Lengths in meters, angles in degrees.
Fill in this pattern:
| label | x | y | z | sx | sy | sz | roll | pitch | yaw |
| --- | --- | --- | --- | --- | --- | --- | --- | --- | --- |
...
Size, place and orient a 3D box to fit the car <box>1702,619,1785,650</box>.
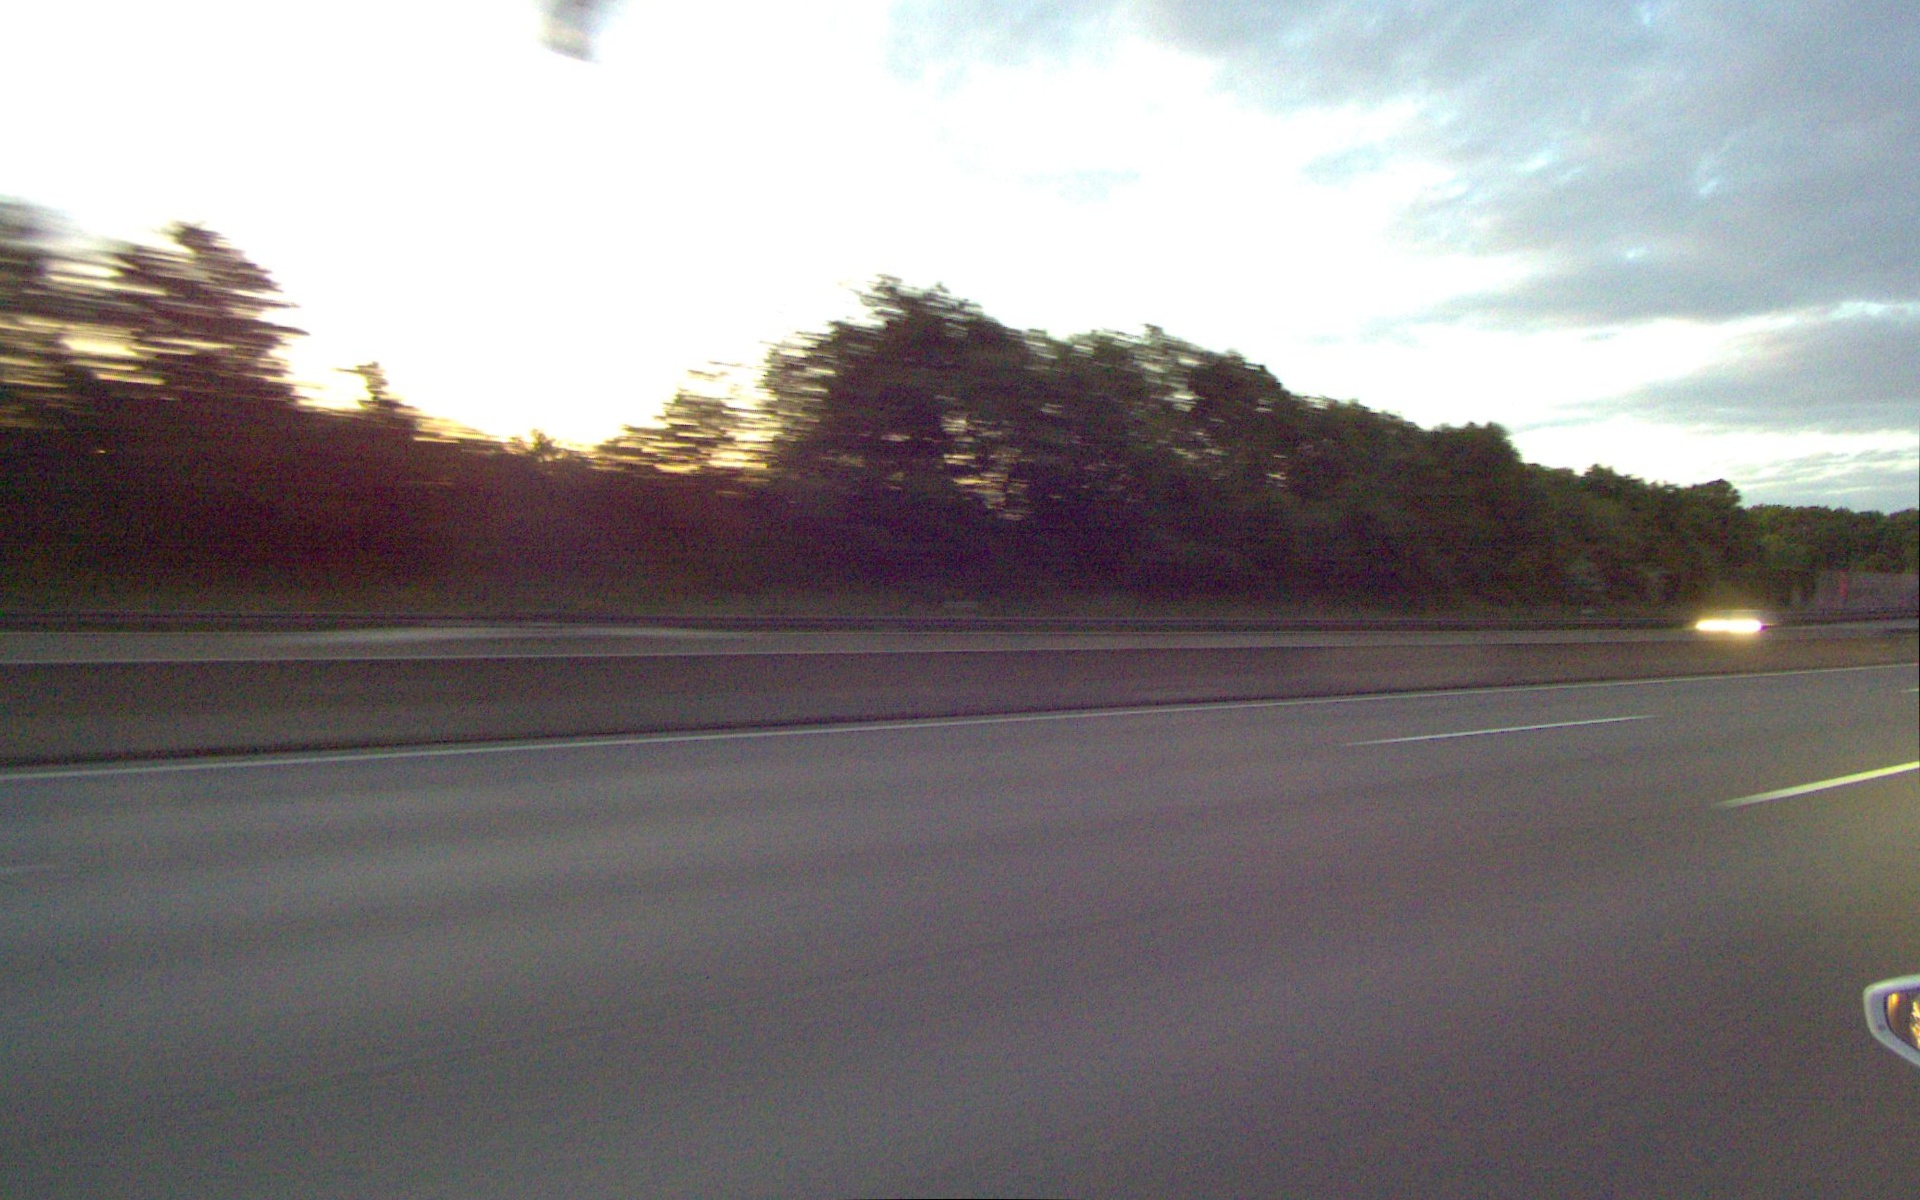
| label | x | y | z | sx | sy | sz | roll | pitch | yaw |
| --- | --- | --- | --- | --- | --- | --- | --- | --- | --- |
| car | 39.633 | 1.744 | 50.795 | 4.105 | 1.438 | 1.983 | 2 | 0 | -32 |
